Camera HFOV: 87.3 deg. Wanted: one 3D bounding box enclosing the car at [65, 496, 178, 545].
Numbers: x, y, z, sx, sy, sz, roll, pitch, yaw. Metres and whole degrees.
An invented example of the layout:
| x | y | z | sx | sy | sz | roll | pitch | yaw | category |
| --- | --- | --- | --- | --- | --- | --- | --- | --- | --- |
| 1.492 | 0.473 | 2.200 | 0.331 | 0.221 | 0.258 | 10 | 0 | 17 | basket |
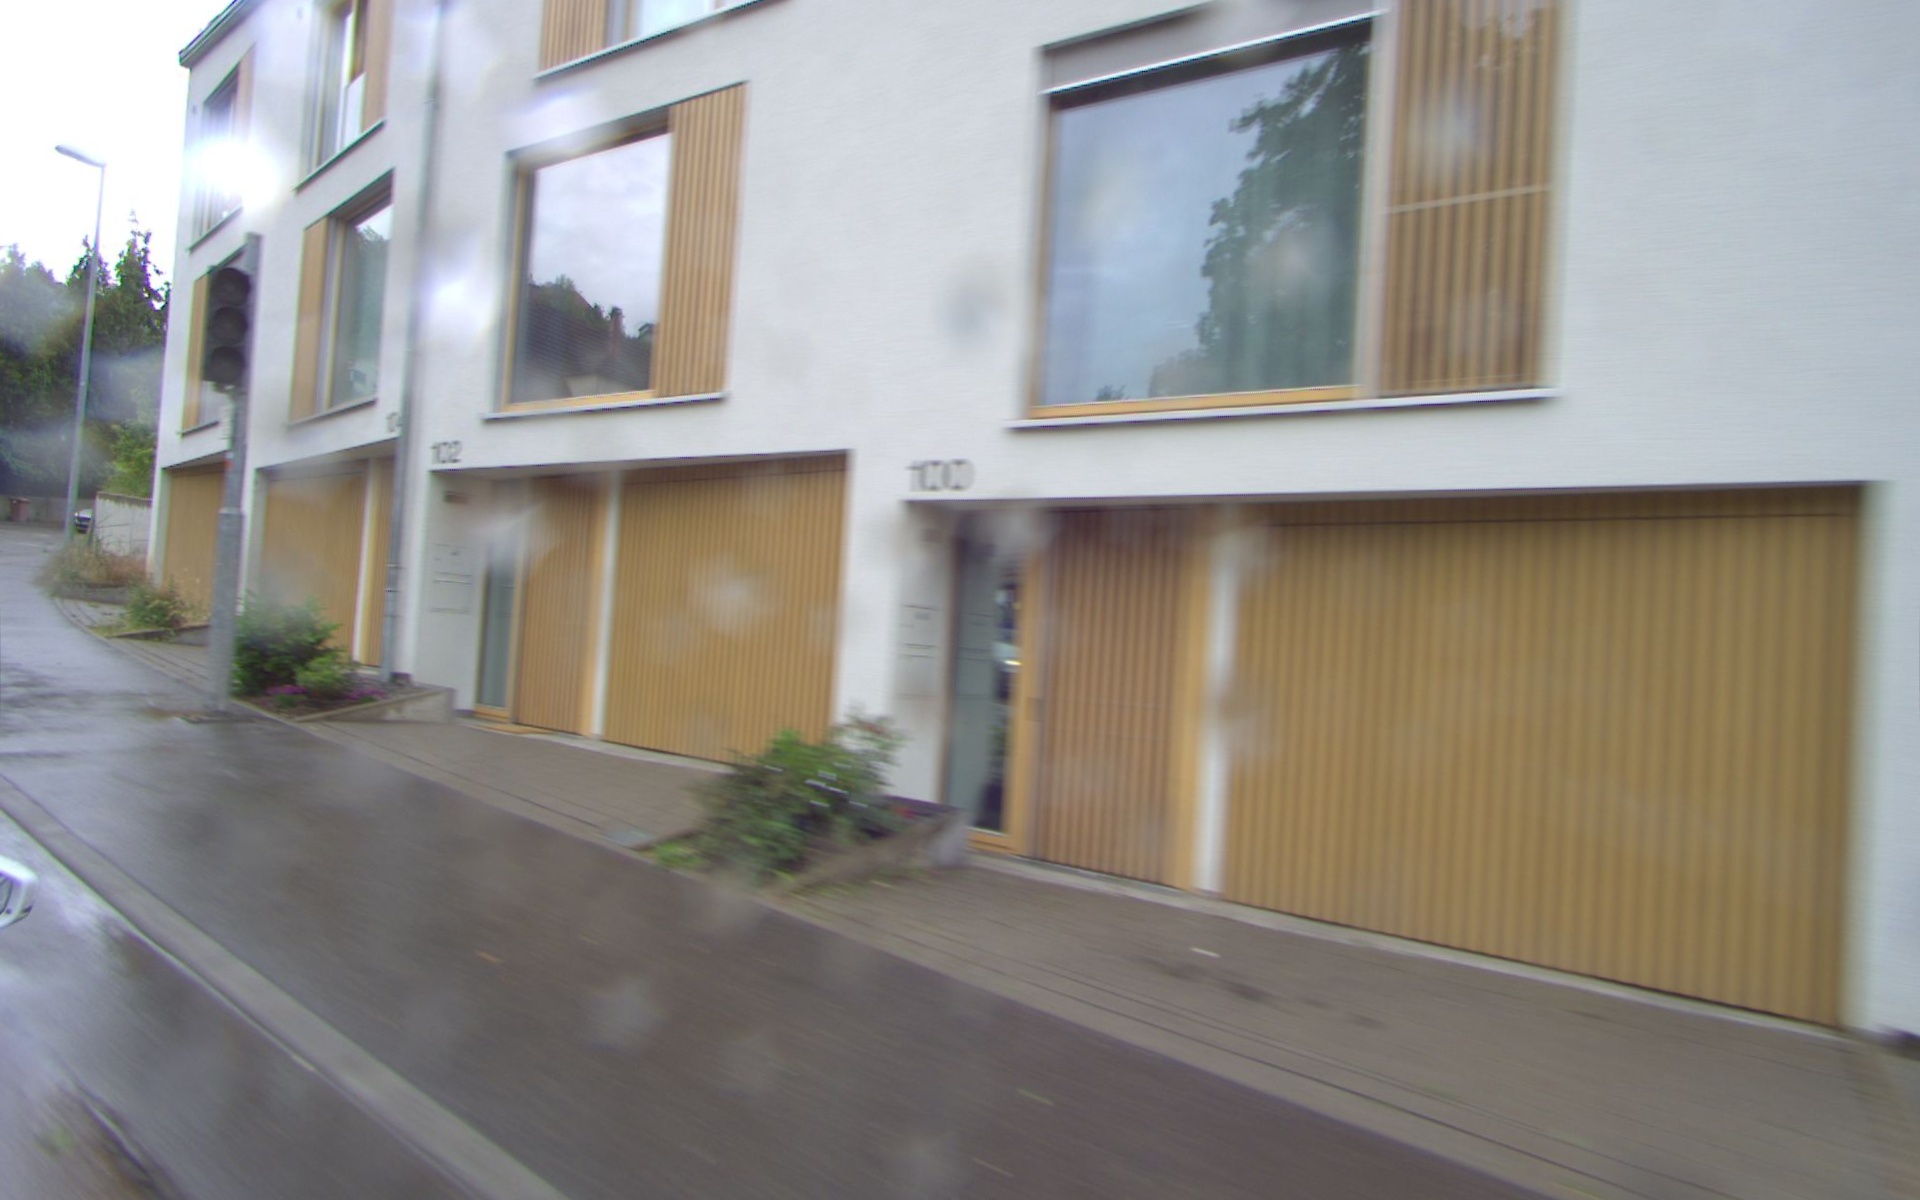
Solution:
| x | y | z | sx | sy | sz | roll | pitch | yaw | category |
| --- | --- | --- | --- | --- | --- | --- | --- | --- | --- |
| -33.783 | -3.170 | 40.676 | 1.574 | 1.430 | 4.228 | 8 | -1 | -12 | car |

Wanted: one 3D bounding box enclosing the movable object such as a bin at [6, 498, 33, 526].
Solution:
| x | y | z | sx | sy | sz | roll | pitch | yaw | category |
| --- | --- | --- | --- | --- | --- | --- | --- | --- | --- |
| -36.384 | -3.409 | 38.920 | 0.493 | 0.991 | 0.489 | 7 | 1 | -9 | movable object such as a bin |
